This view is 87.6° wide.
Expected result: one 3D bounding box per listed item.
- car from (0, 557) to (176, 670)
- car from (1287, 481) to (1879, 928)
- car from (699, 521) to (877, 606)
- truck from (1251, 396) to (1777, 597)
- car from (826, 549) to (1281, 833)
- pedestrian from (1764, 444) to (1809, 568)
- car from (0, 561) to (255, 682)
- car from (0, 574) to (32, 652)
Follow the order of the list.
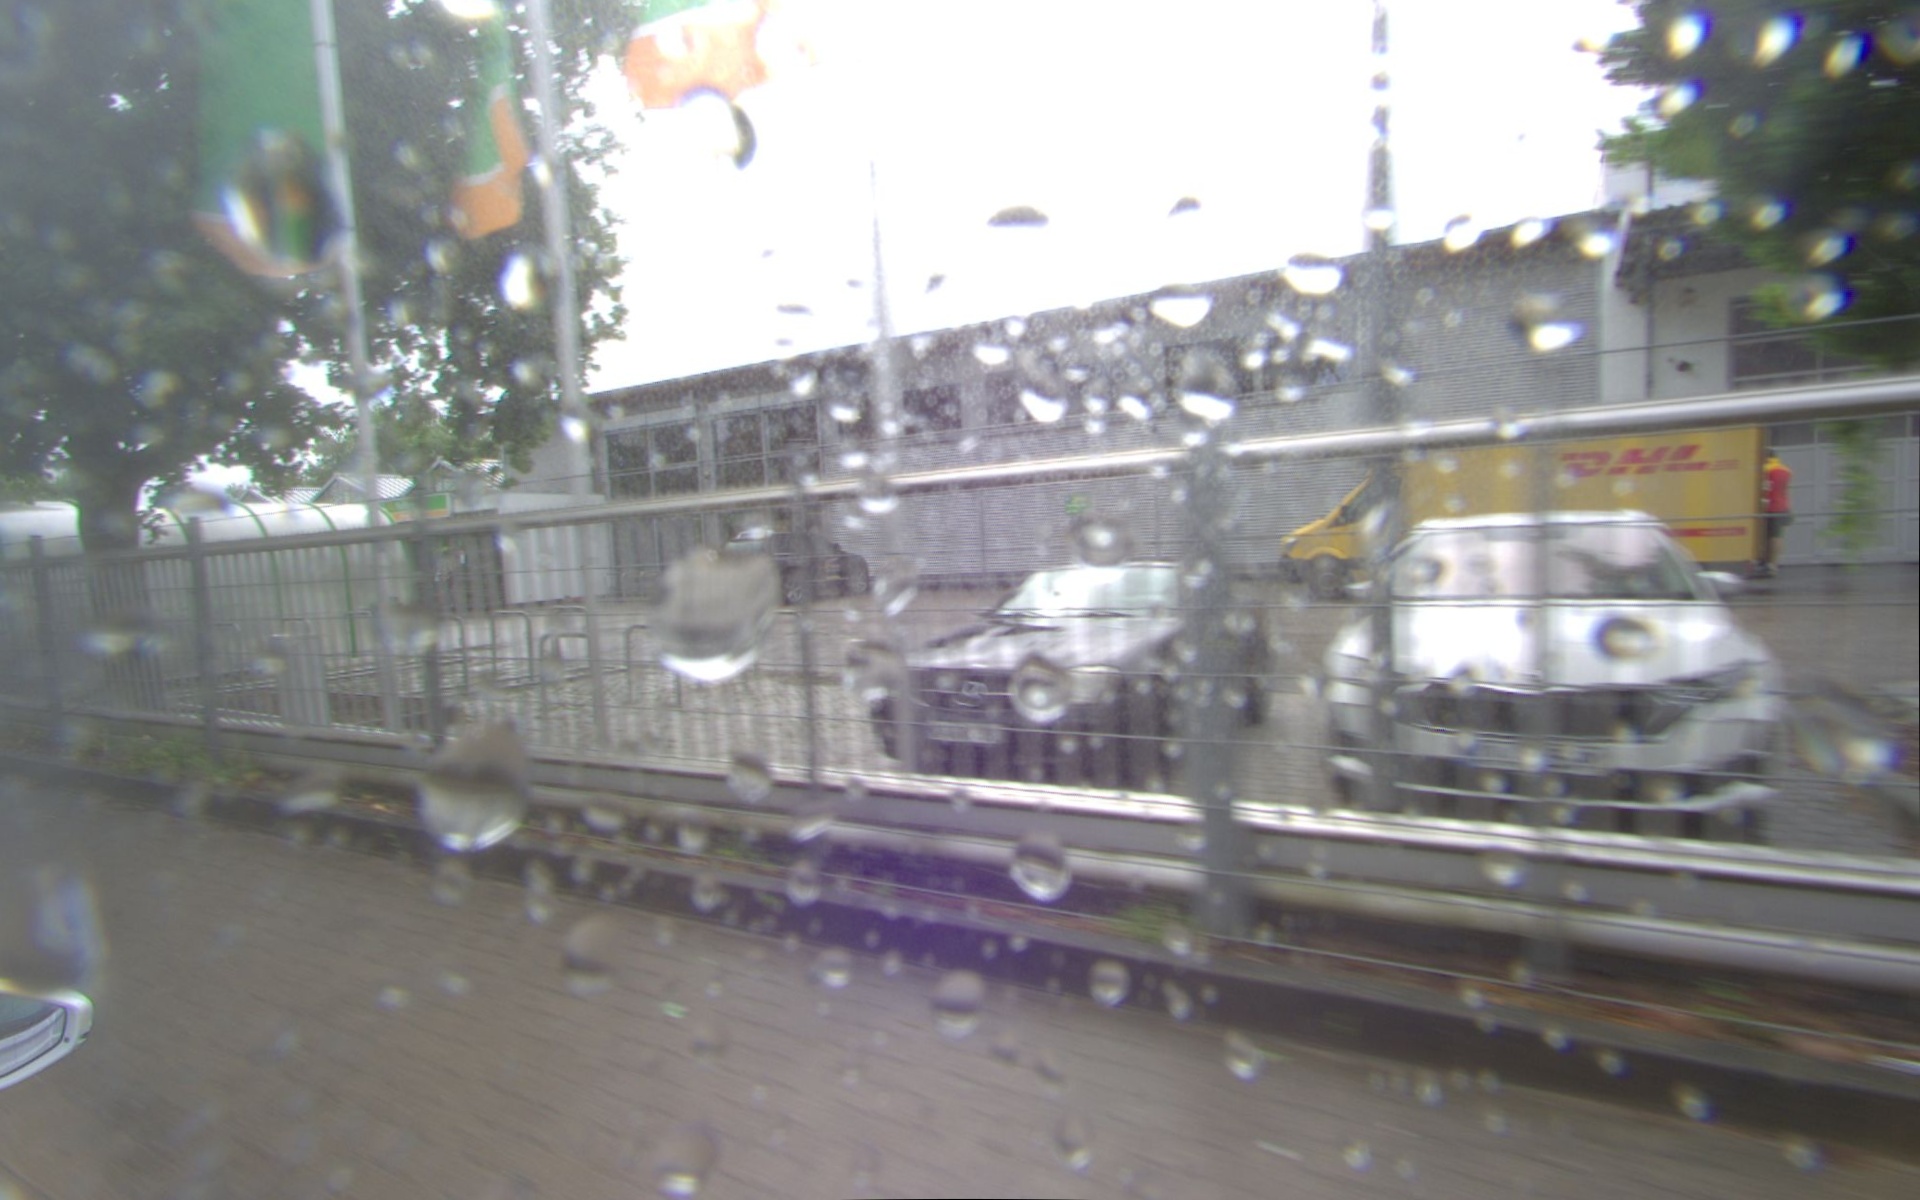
[{"bbox_3d":[-16.858,0.252,17.760,1.793,1.820,4.205,-1,4,23],"label":"car"},{"bbox_3d":[3.335,0.210,5.804,1.862,1.483,4.693,-1,4,29],"label":"car"},{"bbox_3d":[-4.268,-0.980,25.540,2.033,1.859,4.348,0,5,32],"label":"car"},{"bbox_3d":[8.922,-1.550,16.908,7.314,2.698,2.292,-1,6,34],"label":"truck"},{"bbox_3d":[0.942,0.359,6.798,1.594,1.274,3.930,-1,3,29],"label":"car"},{"bbox_3d":[11.938,-1.353,14.476,0.427,1.743,0.453,0,6,34],"label":"pedestrian"},{"bbox_3d":[-14.375,0.307,16.363,1.796,1.624,4.198,0,4,29],"label":"car"},{"bbox_3d":[-22.036,0.423,20.342,1.793,1.641,4.205,-1,4,23],"label":"car"}]
